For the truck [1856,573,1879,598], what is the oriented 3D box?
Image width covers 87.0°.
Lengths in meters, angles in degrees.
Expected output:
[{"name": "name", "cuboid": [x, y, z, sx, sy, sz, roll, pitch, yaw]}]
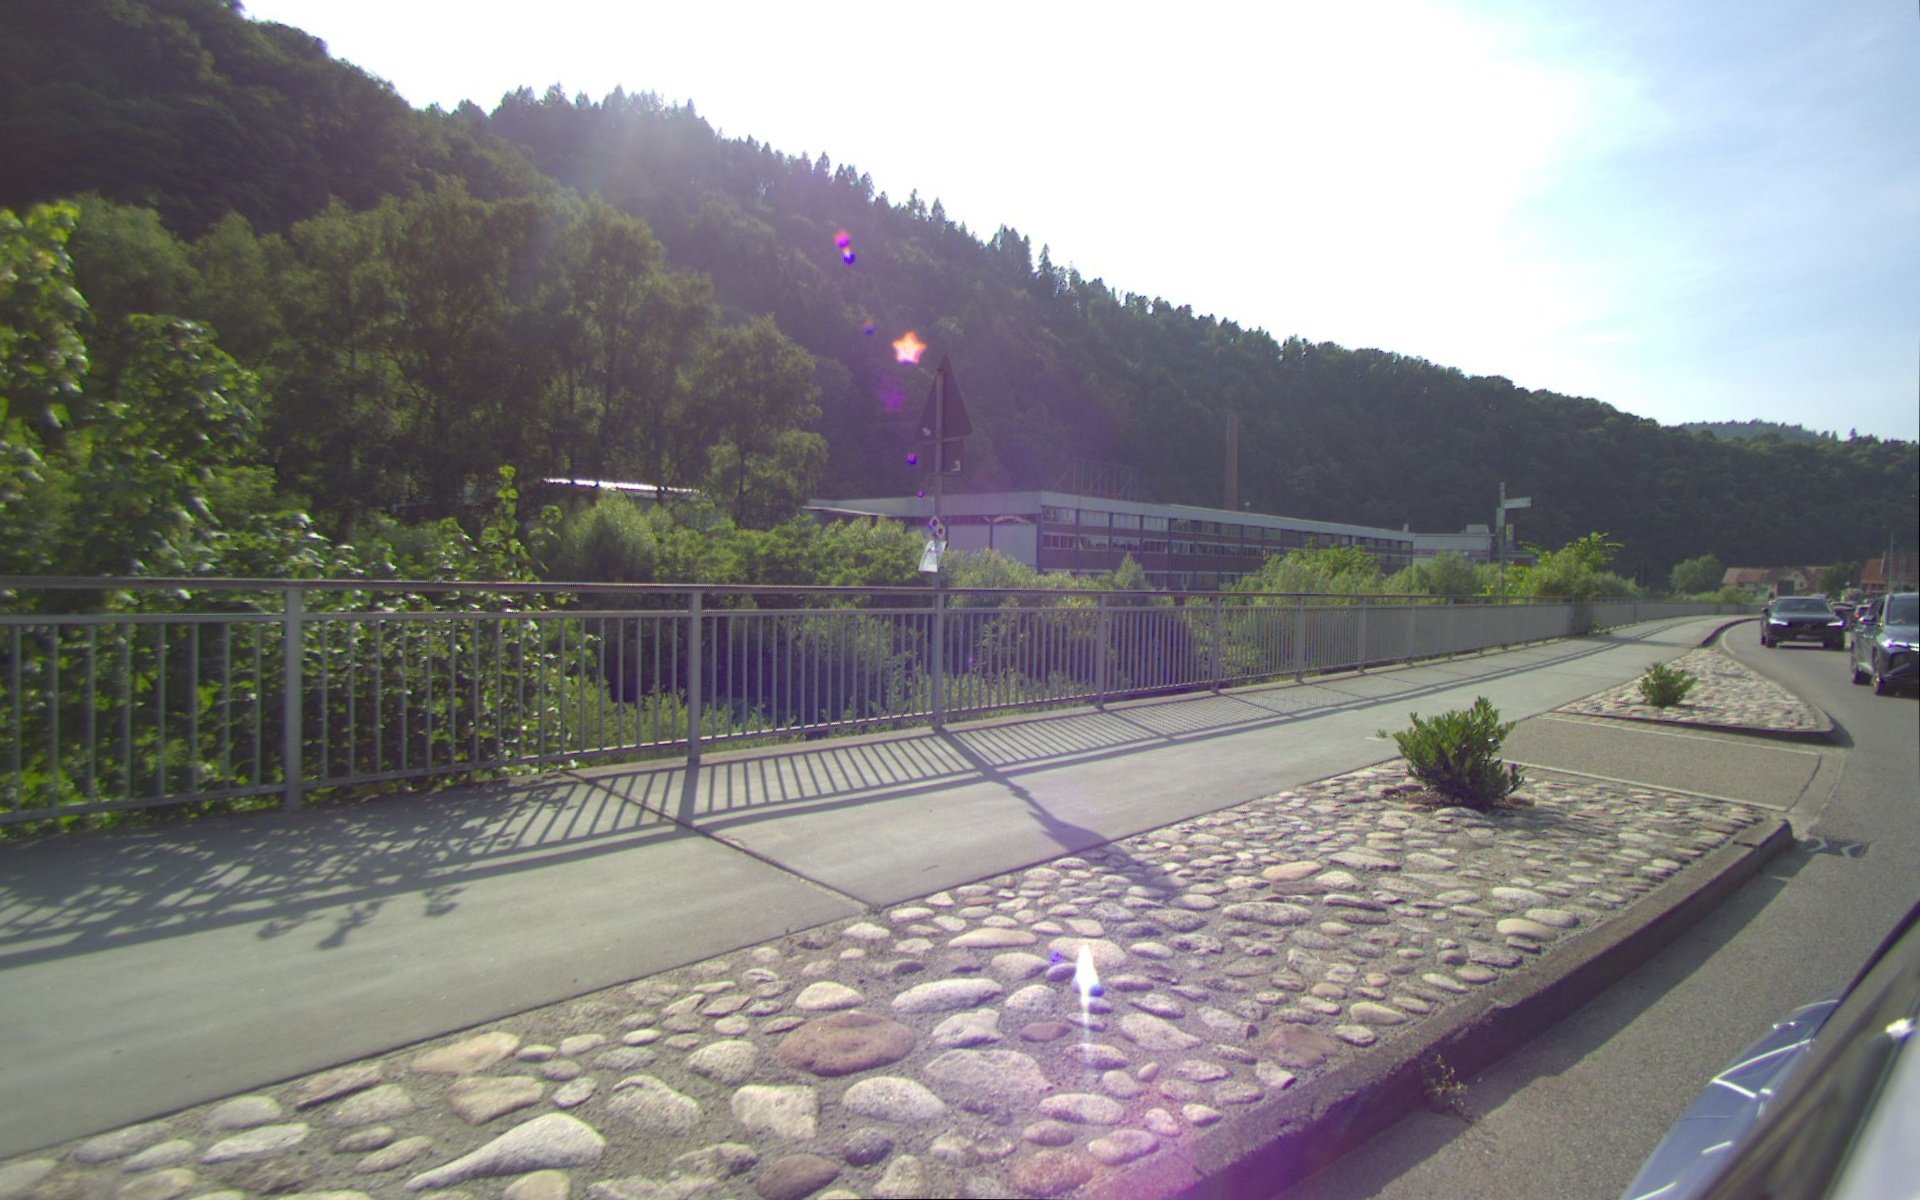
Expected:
[{"name": "truck", "cuboid": [151.810, -2.495, 169.315, 2.576, 3.980, 11.138, 3, 2, 41]}]

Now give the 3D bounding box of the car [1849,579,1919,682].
[{"name": "car", "cuboid": [17.000, 0.497, 17.820, 1.640, 1.670, 3.947, 0, 0, 36]}]

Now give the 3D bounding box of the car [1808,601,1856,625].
[{"name": "car", "cuboid": [56.598, 0.833, 65.731, 1.768, 1.425, 4.221, 2, 1, 33]}]

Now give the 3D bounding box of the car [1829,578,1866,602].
[{"name": "car", "cuboid": [76.744, -0.868, 87.557, 1.891, 1.911, 5.227, -2, 0, 37]}]
